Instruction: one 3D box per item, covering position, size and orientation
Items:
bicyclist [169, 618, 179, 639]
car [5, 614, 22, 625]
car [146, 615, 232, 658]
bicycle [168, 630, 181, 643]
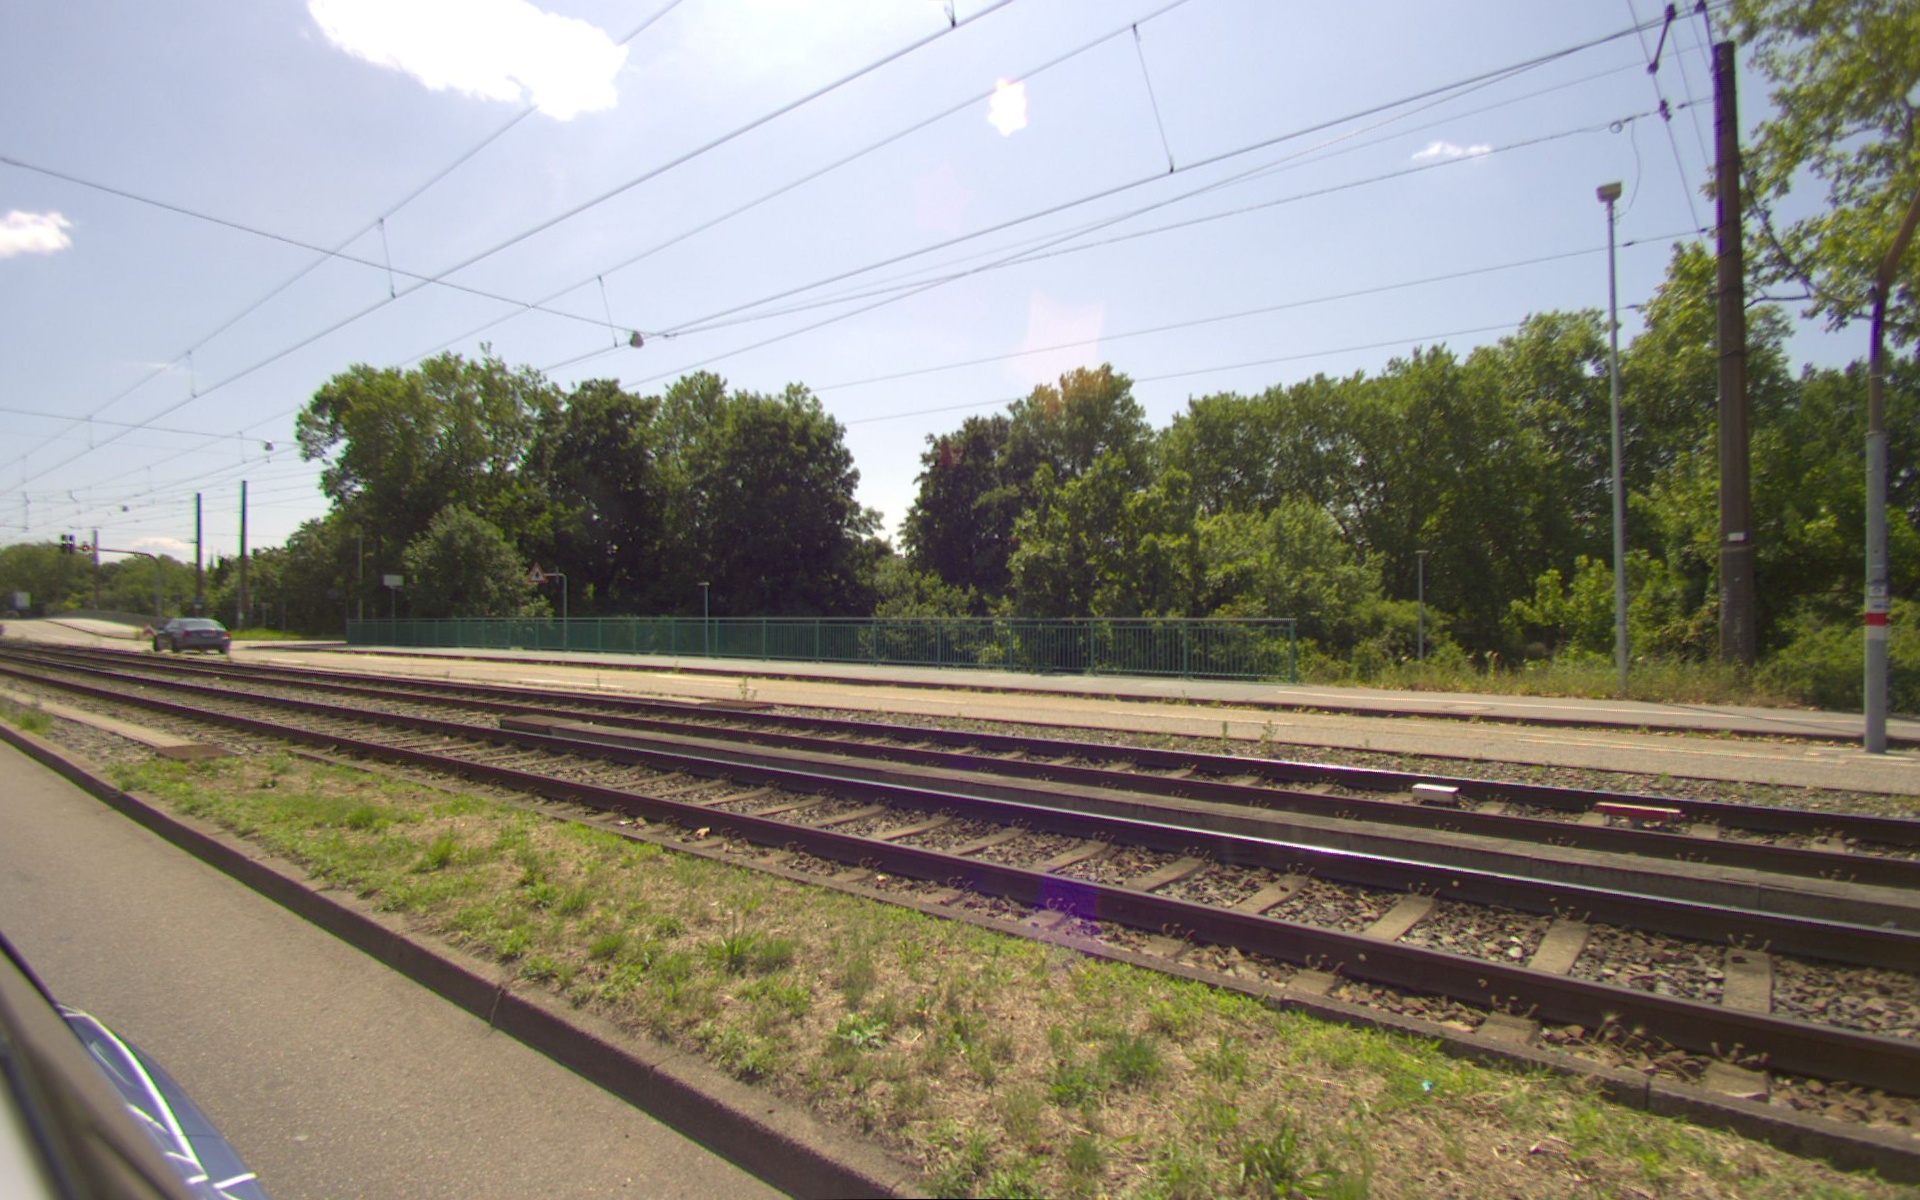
[{"bbox_3d":[-54.852,1.996,70.627,0.633,1.485,0.451,-1,-1,43],"label":"bicyclist"},{"bbox_3d":[-142.062,2.939,151.855,1.685,1.521,3.735,2,-2,-45],"label":"car"},{"bbox_3d":[-33.216,1.535,43.543,5.326,1.733,1.856,-1,-1,40],"label":"car"},{"bbox_3d":[-54.851,2.520,70.636,1.743,0.875,0.463,-1,-1,43],"label":"bicycle"}]
